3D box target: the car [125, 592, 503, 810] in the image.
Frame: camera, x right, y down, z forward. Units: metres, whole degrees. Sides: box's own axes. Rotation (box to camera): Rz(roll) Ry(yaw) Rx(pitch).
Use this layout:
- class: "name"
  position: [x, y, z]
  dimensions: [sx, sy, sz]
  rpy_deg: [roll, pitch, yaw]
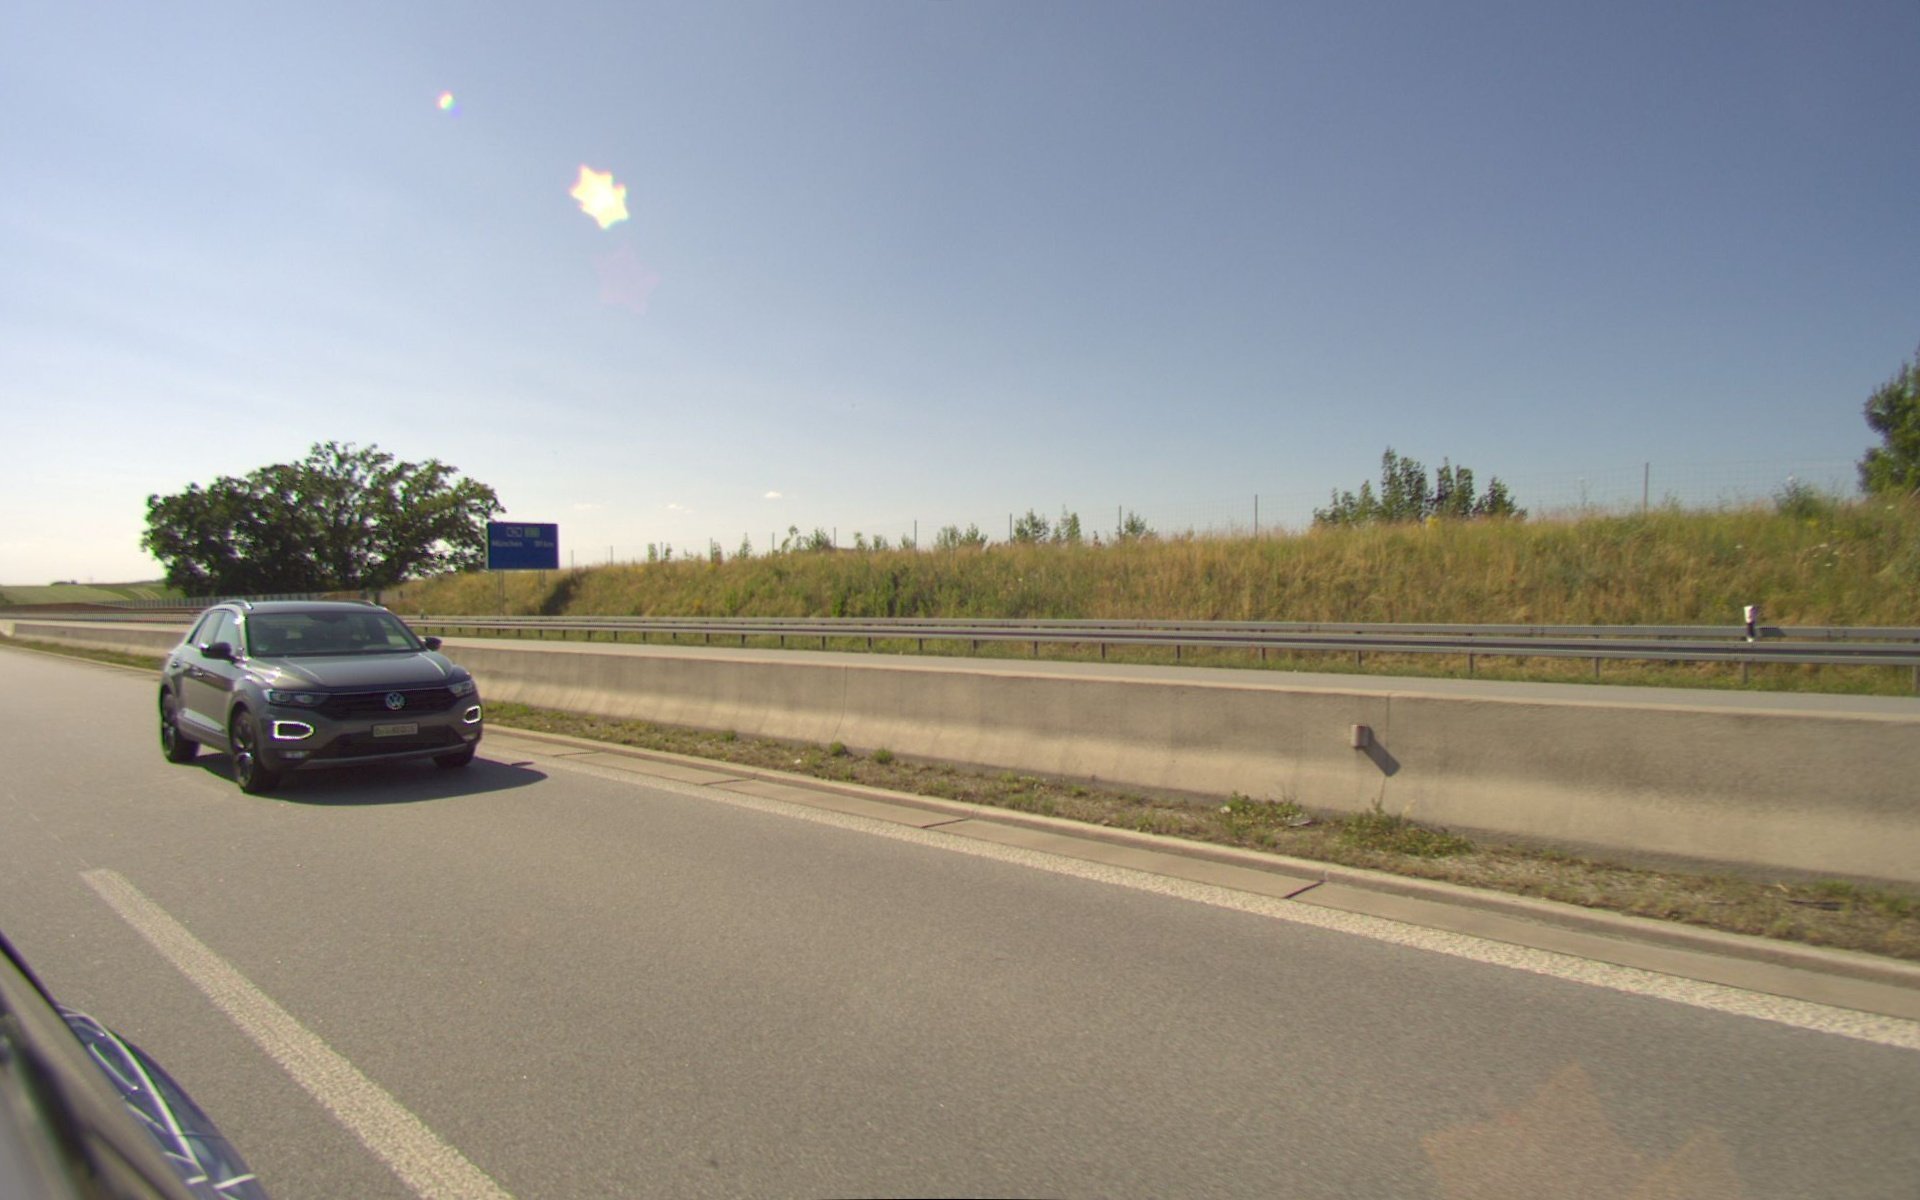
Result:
- class: "car"
  position: [-6.363, 0.759, 9.673]
  dimensions: [4.986, 1.581, 1.753]
  rpy_deg: [-1, 0, 42]
